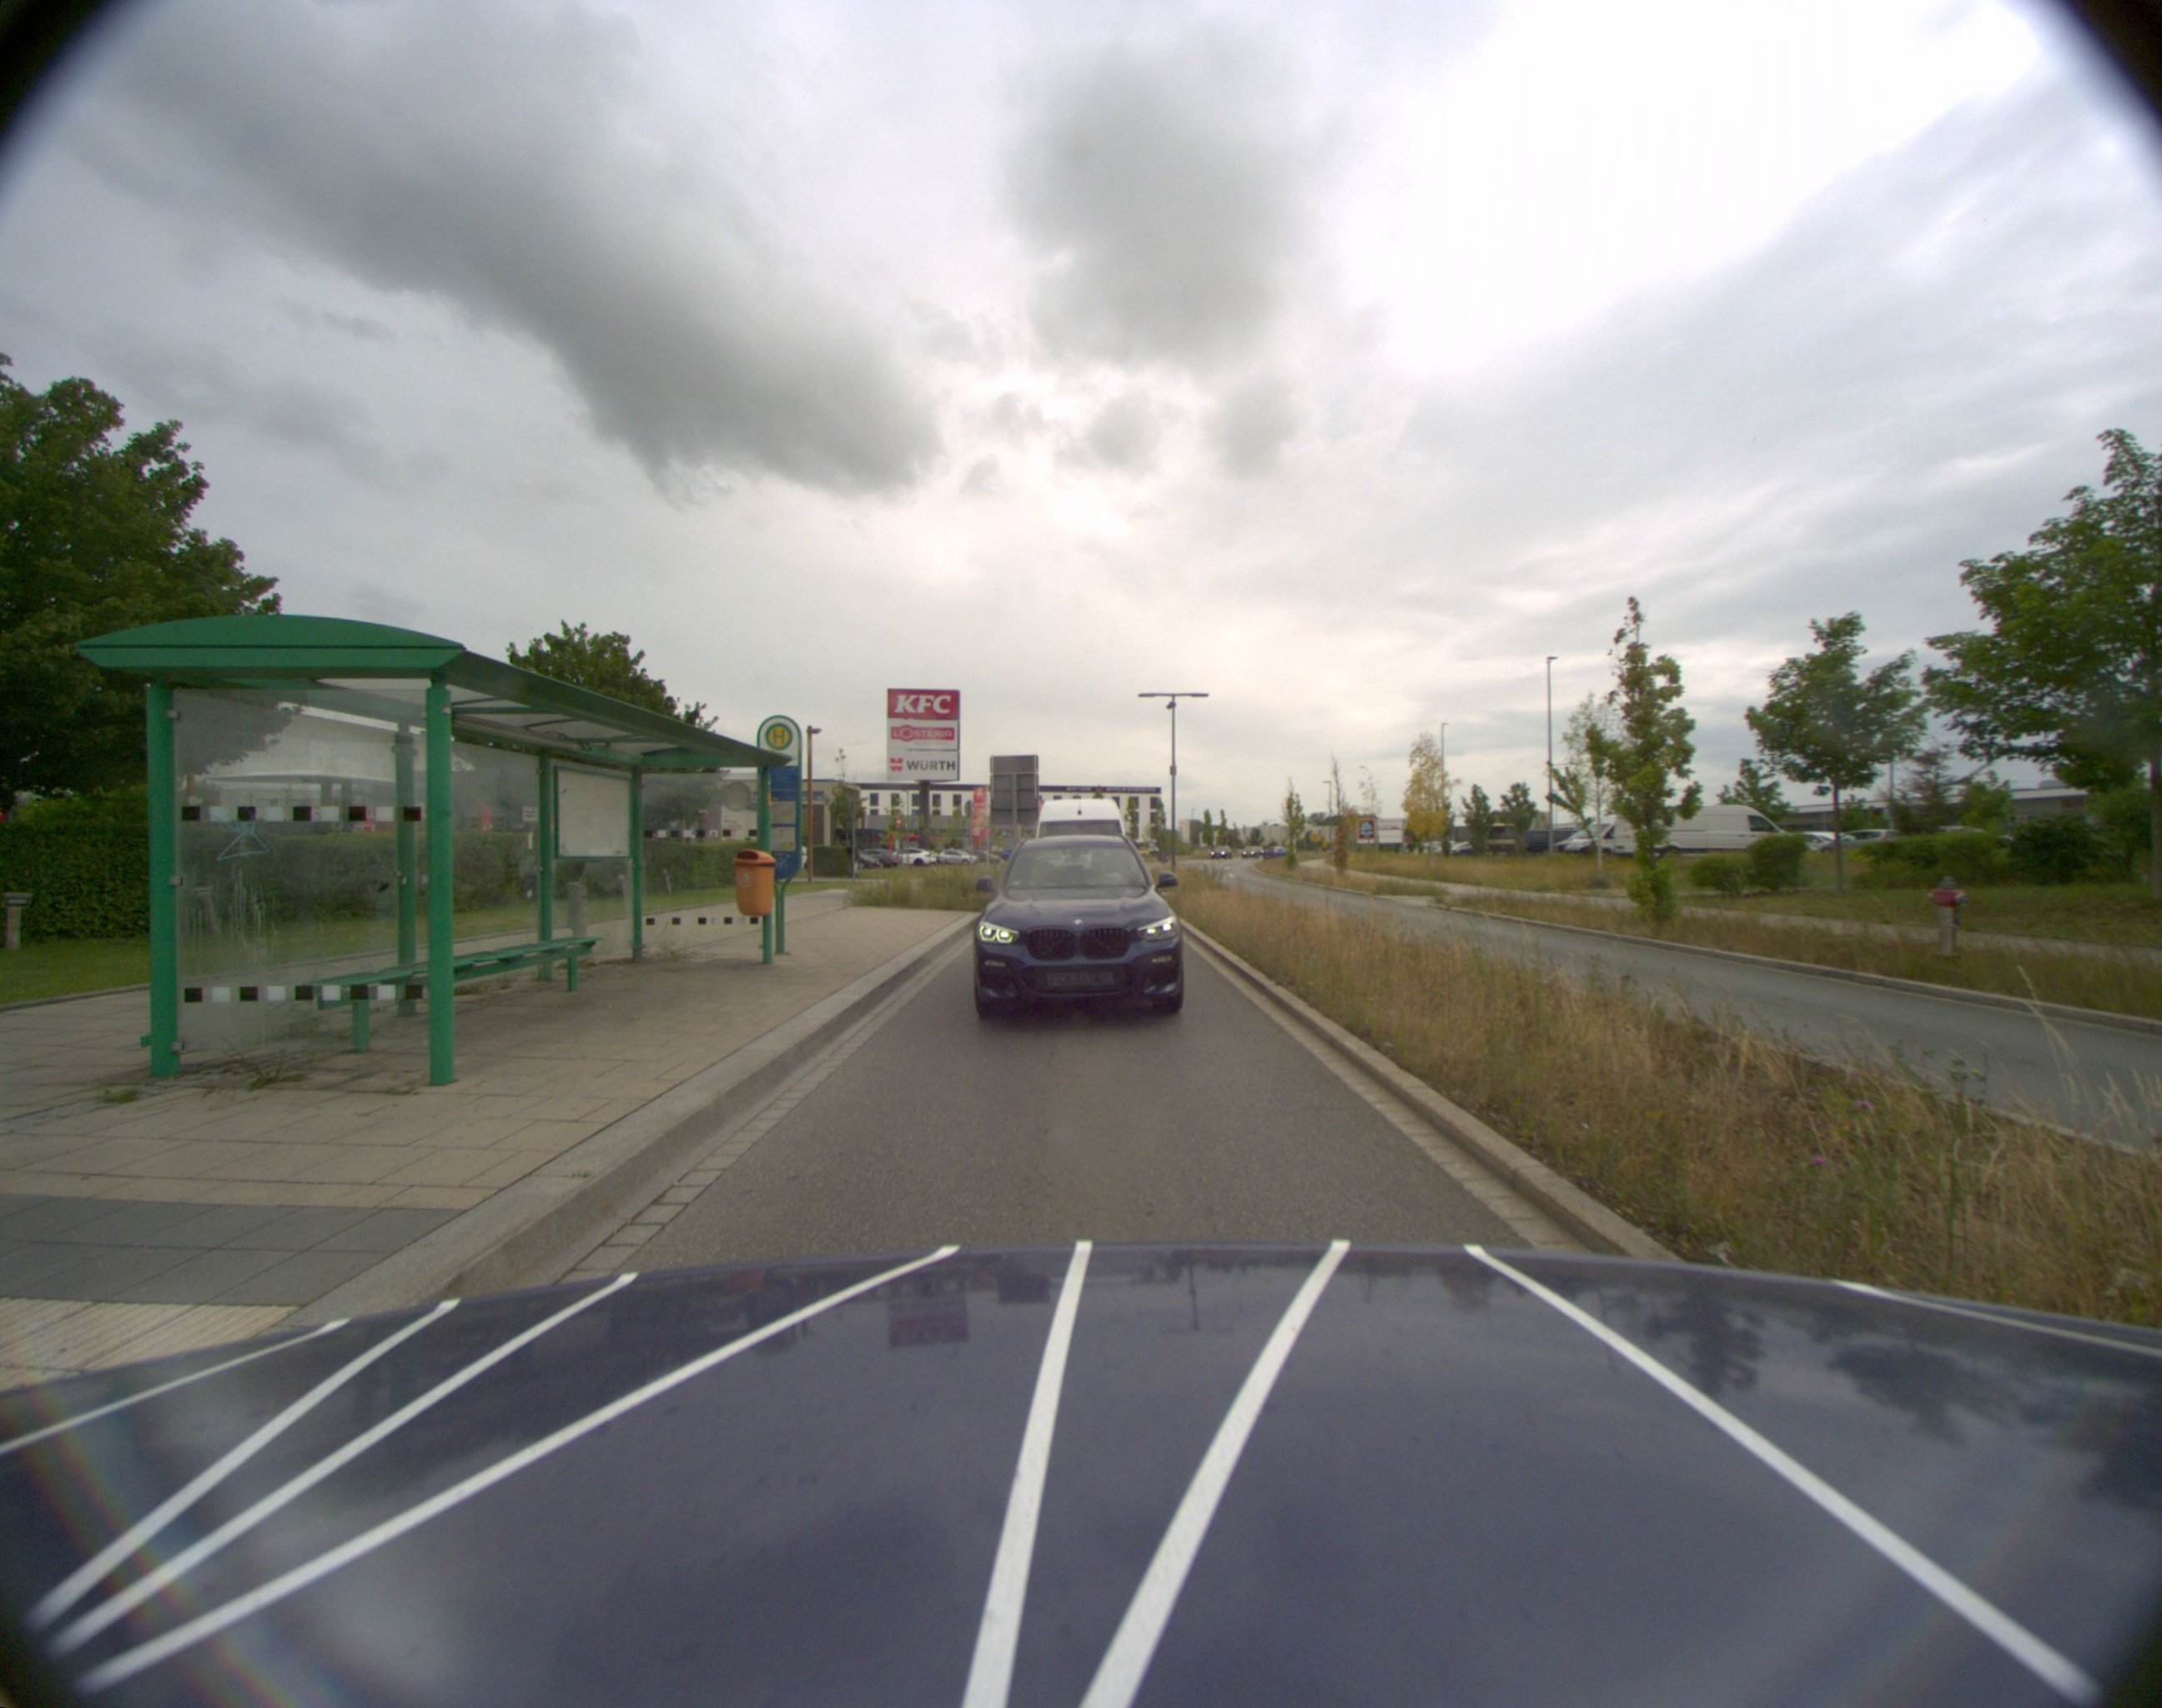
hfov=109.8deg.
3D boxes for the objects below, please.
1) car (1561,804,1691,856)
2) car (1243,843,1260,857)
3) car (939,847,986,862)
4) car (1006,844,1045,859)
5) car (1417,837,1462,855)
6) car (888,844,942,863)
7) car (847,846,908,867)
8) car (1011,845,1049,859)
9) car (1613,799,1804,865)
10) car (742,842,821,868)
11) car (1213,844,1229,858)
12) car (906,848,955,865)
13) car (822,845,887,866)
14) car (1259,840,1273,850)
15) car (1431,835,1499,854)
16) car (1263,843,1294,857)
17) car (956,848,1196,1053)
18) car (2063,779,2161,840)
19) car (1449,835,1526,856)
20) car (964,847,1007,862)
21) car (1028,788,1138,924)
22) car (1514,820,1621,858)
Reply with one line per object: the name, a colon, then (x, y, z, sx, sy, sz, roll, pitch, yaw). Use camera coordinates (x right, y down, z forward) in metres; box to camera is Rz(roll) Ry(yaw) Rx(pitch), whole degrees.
car: (27.347, -1.209, 38.253, 5.053, 2.359, 2.064, -2, 2, 1)
car: (21.830, -0.541, 97.002, 1.996, 1.565, 4.003, -2, 1, 14)
car: (-11.370, 0.051, 73.010, 3.993, 1.477, 1.849, 0, 1, 13)
car: (-6.328, -0.296, 86.703, 3.992, 1.477, 1.849, -1, 2, 17)
car: (37.314, -0.840, 79.171, 3.992, 1.660, 2.003, -2, 0, 18)
car: (-13.789, -0.031, 63.322, 3.994, 1.513, 1.848, 0, 1, 9)
car: (-15.124, 0.187, 56.504, 3.994, 1.477, 1.848, 0, 1, 9)
car: (-5.993, -0.239, 89.404, 3.992, 1.477, 1.849, -1, 2, 17)
car: (27.313, -0.952, 33.254, 6.413, 2.609, 2.065, -2, 2, 4)
car: (-18.197, 0.051, 46.277, 3.997, 1.519, 1.847, 0, 1, 1)
car: (17.717, -0.388, 96.051, 1.997, 1.565, 4.002, -2, 1, 11)
car: (-13.544, 0.188, 68.481, 3.994, 1.477, 1.848, 0, 1, 8)
car: (-15.988, 0.117, 53.726, 3.994, 1.477, 1.848, 0, 1, 9)
car: (31.069, -1.496, 127.515, 1.997, 1.565, 4.002, -2, 1, 11)
car: (34.474, -0.825, 68.364, 5.049, 1.647, 2.066, 0, 1, 10)
car: (22.002, -0.477, 84.688, 1.729, 1.504, 4.008, 0, 1, 41)
car: (-0.049, 0.738, 7.947, 1.867, 1.598, 3.999, 0, 1, 0)
car: (43.070, -1.775, 29.939, 2.064, 2.359, 5.054, -2, 1, -4)
car: (32.548, -0.668, 60.952, 5.049, 1.647, 2.066, 0, 1, 10)
car: (-9.726, 0.074, 77.537, 3.993, 1.477, 1.849, 0, 1, 13)
car: (0.028, 0.023, 17.123, 2.026, 2.513, 6.104, 0, 1, 0)
car: (29.318, -0.890, 45.912, 5.050, 2.211, 2.066, 0, 1, 8)
